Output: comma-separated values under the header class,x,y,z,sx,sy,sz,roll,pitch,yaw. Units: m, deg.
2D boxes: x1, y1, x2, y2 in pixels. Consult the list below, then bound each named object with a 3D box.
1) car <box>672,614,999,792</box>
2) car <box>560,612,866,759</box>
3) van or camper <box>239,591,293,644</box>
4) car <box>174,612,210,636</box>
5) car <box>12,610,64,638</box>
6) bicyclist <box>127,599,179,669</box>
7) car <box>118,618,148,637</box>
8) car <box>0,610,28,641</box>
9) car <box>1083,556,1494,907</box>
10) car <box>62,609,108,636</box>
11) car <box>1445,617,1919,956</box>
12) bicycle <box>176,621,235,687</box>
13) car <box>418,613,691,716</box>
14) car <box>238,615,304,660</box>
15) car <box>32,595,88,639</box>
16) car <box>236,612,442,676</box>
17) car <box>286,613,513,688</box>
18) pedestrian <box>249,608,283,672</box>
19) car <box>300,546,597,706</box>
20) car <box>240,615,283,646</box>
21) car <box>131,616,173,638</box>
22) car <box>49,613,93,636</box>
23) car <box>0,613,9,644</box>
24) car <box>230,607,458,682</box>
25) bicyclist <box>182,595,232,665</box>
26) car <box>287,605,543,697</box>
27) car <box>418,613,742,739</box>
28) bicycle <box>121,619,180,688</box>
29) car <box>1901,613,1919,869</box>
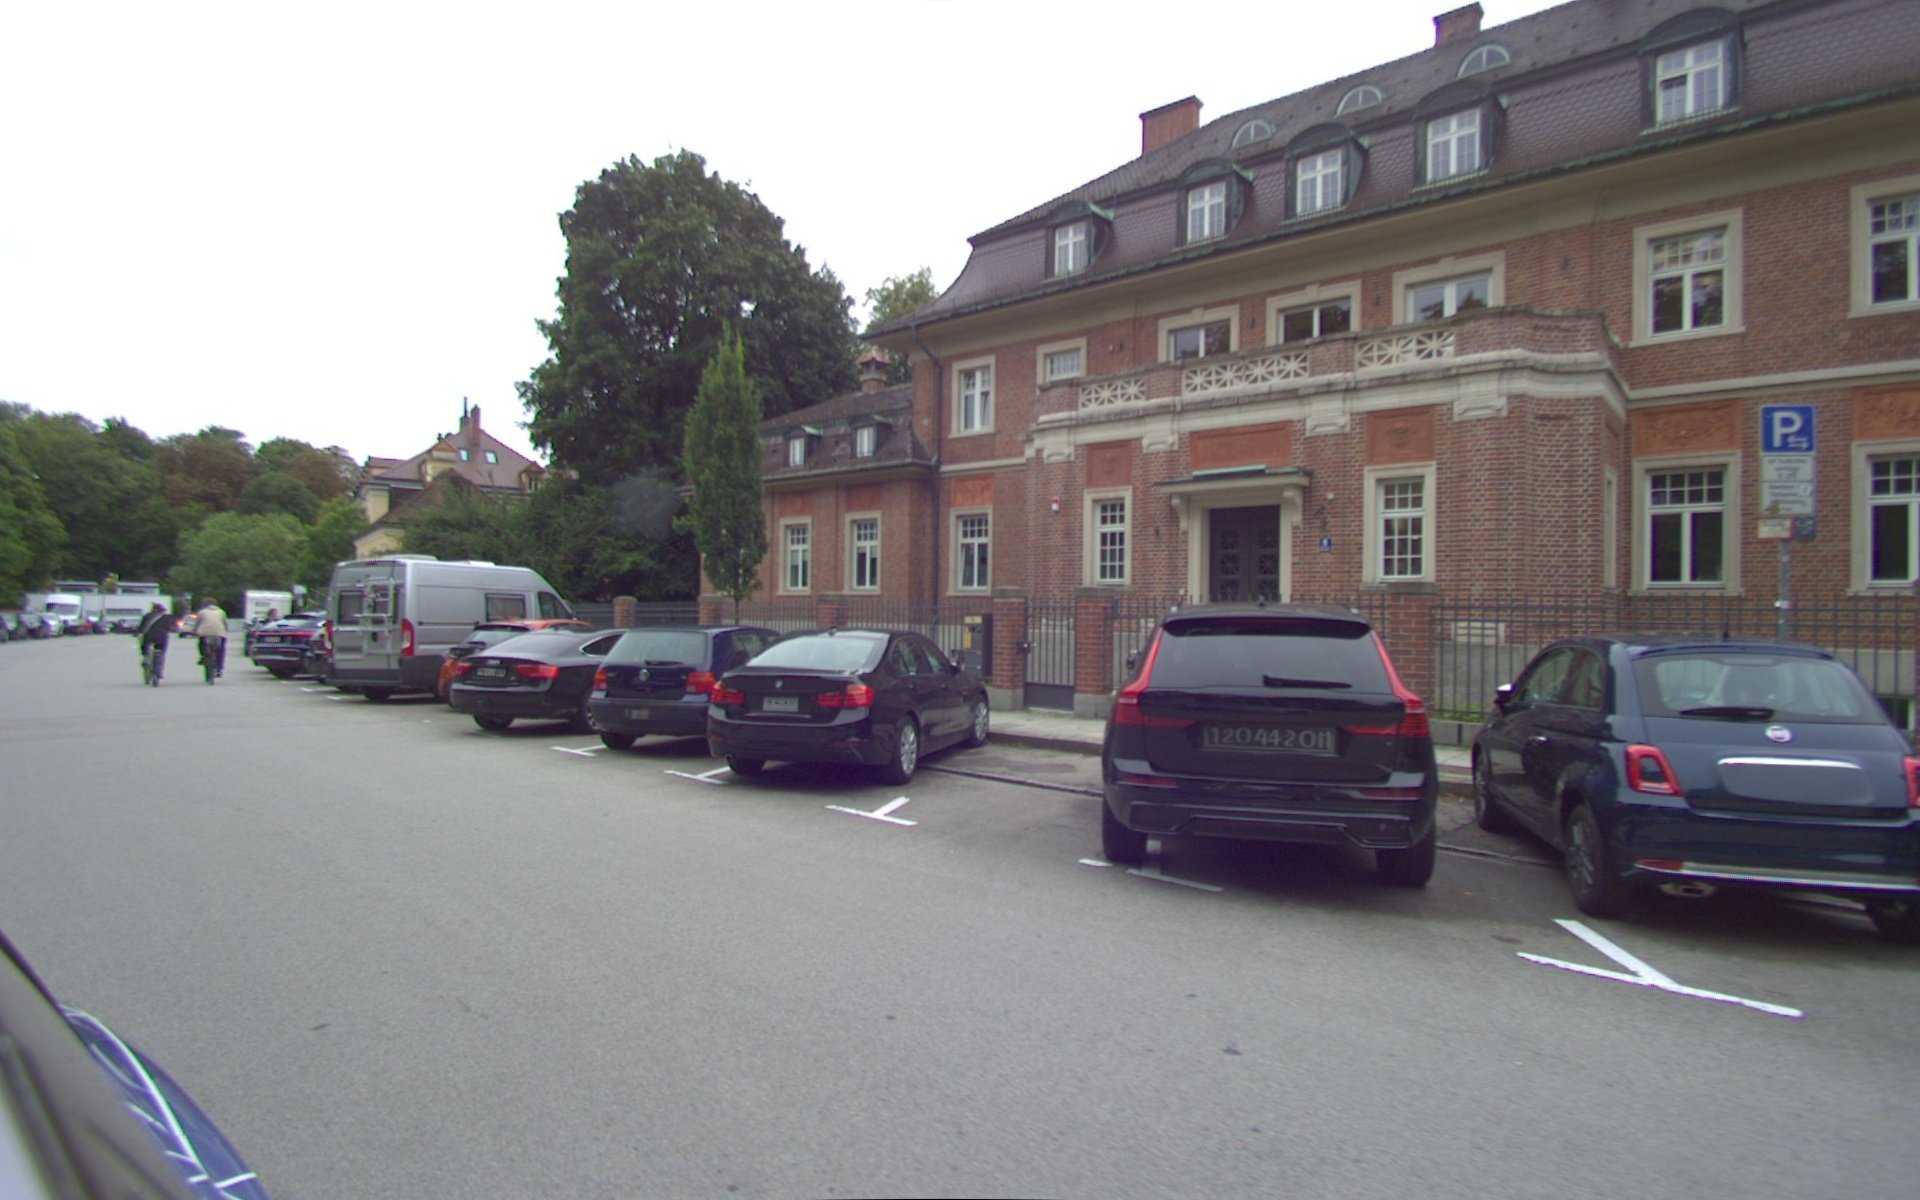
class,x,y,z,sx,sy,sz,roll,pitch,yaw
car,-1.006,0.960,10.739,1.909,1.429,4.505,1,-3,14
car,-2.806,0.978,12.715,1.803,1.462,4.505,1,-2,14
van or camper,-42.533,1.101,62.159,2.422,2.963,7.231,4,-3,-33
car,-49.086,1.509,64.716,1.749,1.486,4.143,1,-2,-37
car,-55.963,1.474,61.516,1.846,1.581,5.011,5,-4,-38
bicyclist,-16.156,0.672,20.258,0.688,1.362,0.931,2,-2,-44
car,-71.083,2.367,86.971,1.868,1.457,4.274,-1,-2,-41
car,-49.351,1.296,51.881,1.704,1.541,4.215,4,-3,-35
car,2.188,0.717,7.357,1.969,1.677,4.505,1,-2,15
car,-66.193,1.716,76.588,1.909,1.919,5.085,4,-4,-34
car,4.595,0.951,6.659,1.804,1.483,4.307,1,-3,16
bicycle,-15.868,1.104,21.267,0.699,1.315,2.120,2,-2,-44
car,-6.814,1.019,17.613,1.922,1.528,4.498,0,-1,19
car,-25.993,1.386,38.131,1.821,1.546,4.572,5,-4,-36
car,-59.657,1.198,67.147,2.052,2.707,6.102,4,-4,-36
car,-16.503,1.143,27.052,1.933,1.541,4.285,1,-1,41
car,-12.790,1.149,23.450,1.821,1.498,4.389,2,-2,22
pedestrian,-18.310,1.053,26.703,0.583,1.660,0.715,3,-3,-43
car,-9.269,0.512,18.846,2.218,2.583,4.604,0,-2,21
car,-38.170,1.651,55.298,1.754,1.546,4.238,4,-3,-35
car,-65.577,2.184,82.164,1.966,1.706,4.347,0,-2,-30
car,-63.360,1.772,72.161,1.846,1.518,4.849,5,-4,-36
car,-46.248,1.327,47.516,1.724,1.475,4.253,2,-2,-35
car,-14.889,1.088,24.799,1.951,1.606,4.495,1,-2,21
bicyclist,-15.714,0.619,21.115,0.688,1.408,0.931,2,-2,-44
car,-11.182,1.039,21.184,1.953,1.637,4.495,2,-2,21
car,-5.100,0.995,14.399,1.961,1.462,4.501,0,-2,17
bicycle,-16.393,1.050,20.475,0.698,1.315,2.120,2,-2,-44
car,6.399,0.822,3.993,1.870,1.579,4.508,1,-2,12
